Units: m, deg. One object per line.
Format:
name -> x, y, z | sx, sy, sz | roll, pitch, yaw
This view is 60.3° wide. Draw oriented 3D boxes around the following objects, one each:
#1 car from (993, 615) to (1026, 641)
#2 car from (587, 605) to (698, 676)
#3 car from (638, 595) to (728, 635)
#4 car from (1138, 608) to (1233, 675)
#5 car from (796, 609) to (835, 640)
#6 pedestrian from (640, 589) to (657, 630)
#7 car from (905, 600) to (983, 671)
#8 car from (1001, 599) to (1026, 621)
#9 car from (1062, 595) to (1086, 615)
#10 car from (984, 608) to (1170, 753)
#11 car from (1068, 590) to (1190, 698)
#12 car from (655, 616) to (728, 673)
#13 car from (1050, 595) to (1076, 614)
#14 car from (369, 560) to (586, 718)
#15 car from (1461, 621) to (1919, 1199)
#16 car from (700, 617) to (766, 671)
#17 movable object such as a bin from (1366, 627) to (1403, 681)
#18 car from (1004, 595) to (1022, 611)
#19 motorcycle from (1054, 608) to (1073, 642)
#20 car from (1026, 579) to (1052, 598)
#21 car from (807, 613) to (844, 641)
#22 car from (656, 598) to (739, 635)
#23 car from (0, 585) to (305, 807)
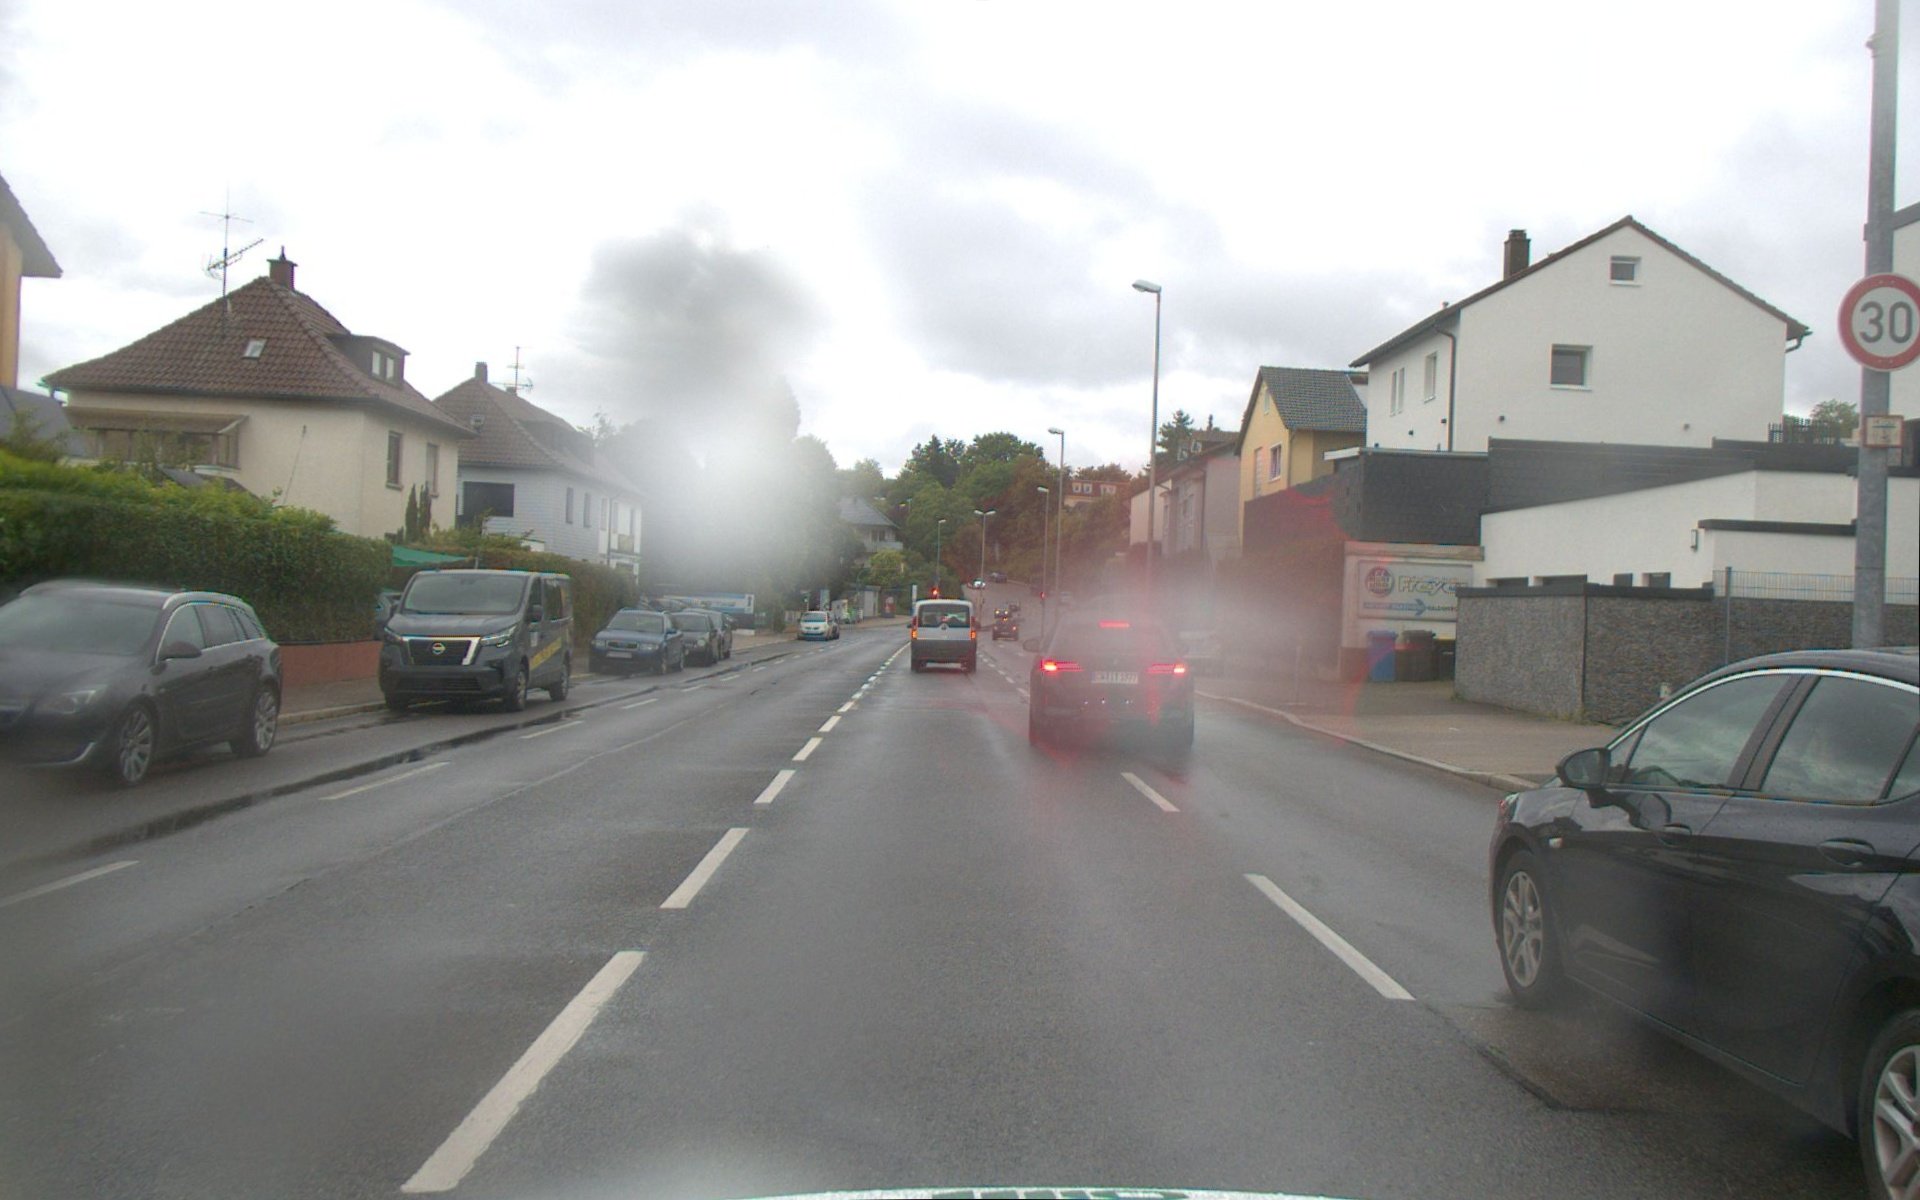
car -> 3.282, 1.833, 110.405 | 1.953, 1.606, 3.999 | -1, 1, -1
car -> -7.508, 0.941, 39.469 | 1.721, 1.559, 4.287 | 1, -1, 1
car -> -13.510, 0.732, 80.929 | 3.991, 1.542, 1.855 | 5, -1, -1
car -> 5.533, 0.994, 41.043 | 1.666, 1.536, 4.533 | 1, -1, -1
car -> -8.022, 1.367, 92.097 | 1.846, 1.613, 3.999 | 1, -1, 0
pedestrian -> -14.414, 0.434, 76.555 | 0.589, 1.822, 0.649 | 4, -1, -6
car -> -0.411, 0.941, 44.414 | 1.953, 1.768, 3.999 | 1, -1, 0
car -> 5.726, 1.070, 177.472 | 2.470, 2.048, 5.609 | 2, 2, -1
car -> 13.170, 0.534, 191.156 | 2.470, 2.048, 5.610 | 2, 2, 1
car -> 1.283, 0.887, 19.670 | 1.952, 1.510, 4.000 | 1, -1, 1
car -> 3.028, 0.781, 30.362 | 1.801, 1.798, 3.999 | 1, -1, 0
car -> -7.382, 1.198, 45.735 | 1.520, 1.456, 4.012 | 1, -1, -3
car -> 13.010, 0.583, 209.100 | 2.472, 2.048, 5.605 | 2, 3, -4
car -> -6.908, 0.545, 24.269 | 1.874, 2.038, 5.084 | 1, -1, -3
car -> 3.095, 0.825, 5.127 | 1.721, 1.475, 3.998 | 1, -1, -2
car -> -7.051, 1.350, 51.765 | 1.722, 1.559, 4.205 | 1, -1, -4
movable object such as a bin -> 8.995, 1.140, 35.062 | 0.583, 1.124, 0.667 | -1, 0, -1
car -> 6.257, 0.296, 197.059 | 1.953, 1.802, 4.000 | -1, 1, -1
motorcycle -> 4.765, 1.139, 76.325 | 0.689, 1.536, 2.150 | -1, -1, 0
car -> 10.752, -1.543, 225.776 | 2.475, 2.047, 5.599 | 2, 4, -9
car -> -8.037, 1.619, 99.020 | 1.846, 1.613, 3.999 | 1, -1, 0
car -> -13.880, 0.882, 87.598 | 3.991, 1.542, 1.855 | 5, -1, -1
car -> -7.138, 0.683, 13.777 | 1.715, 1.543, 4.525 | 1, -1, -3
